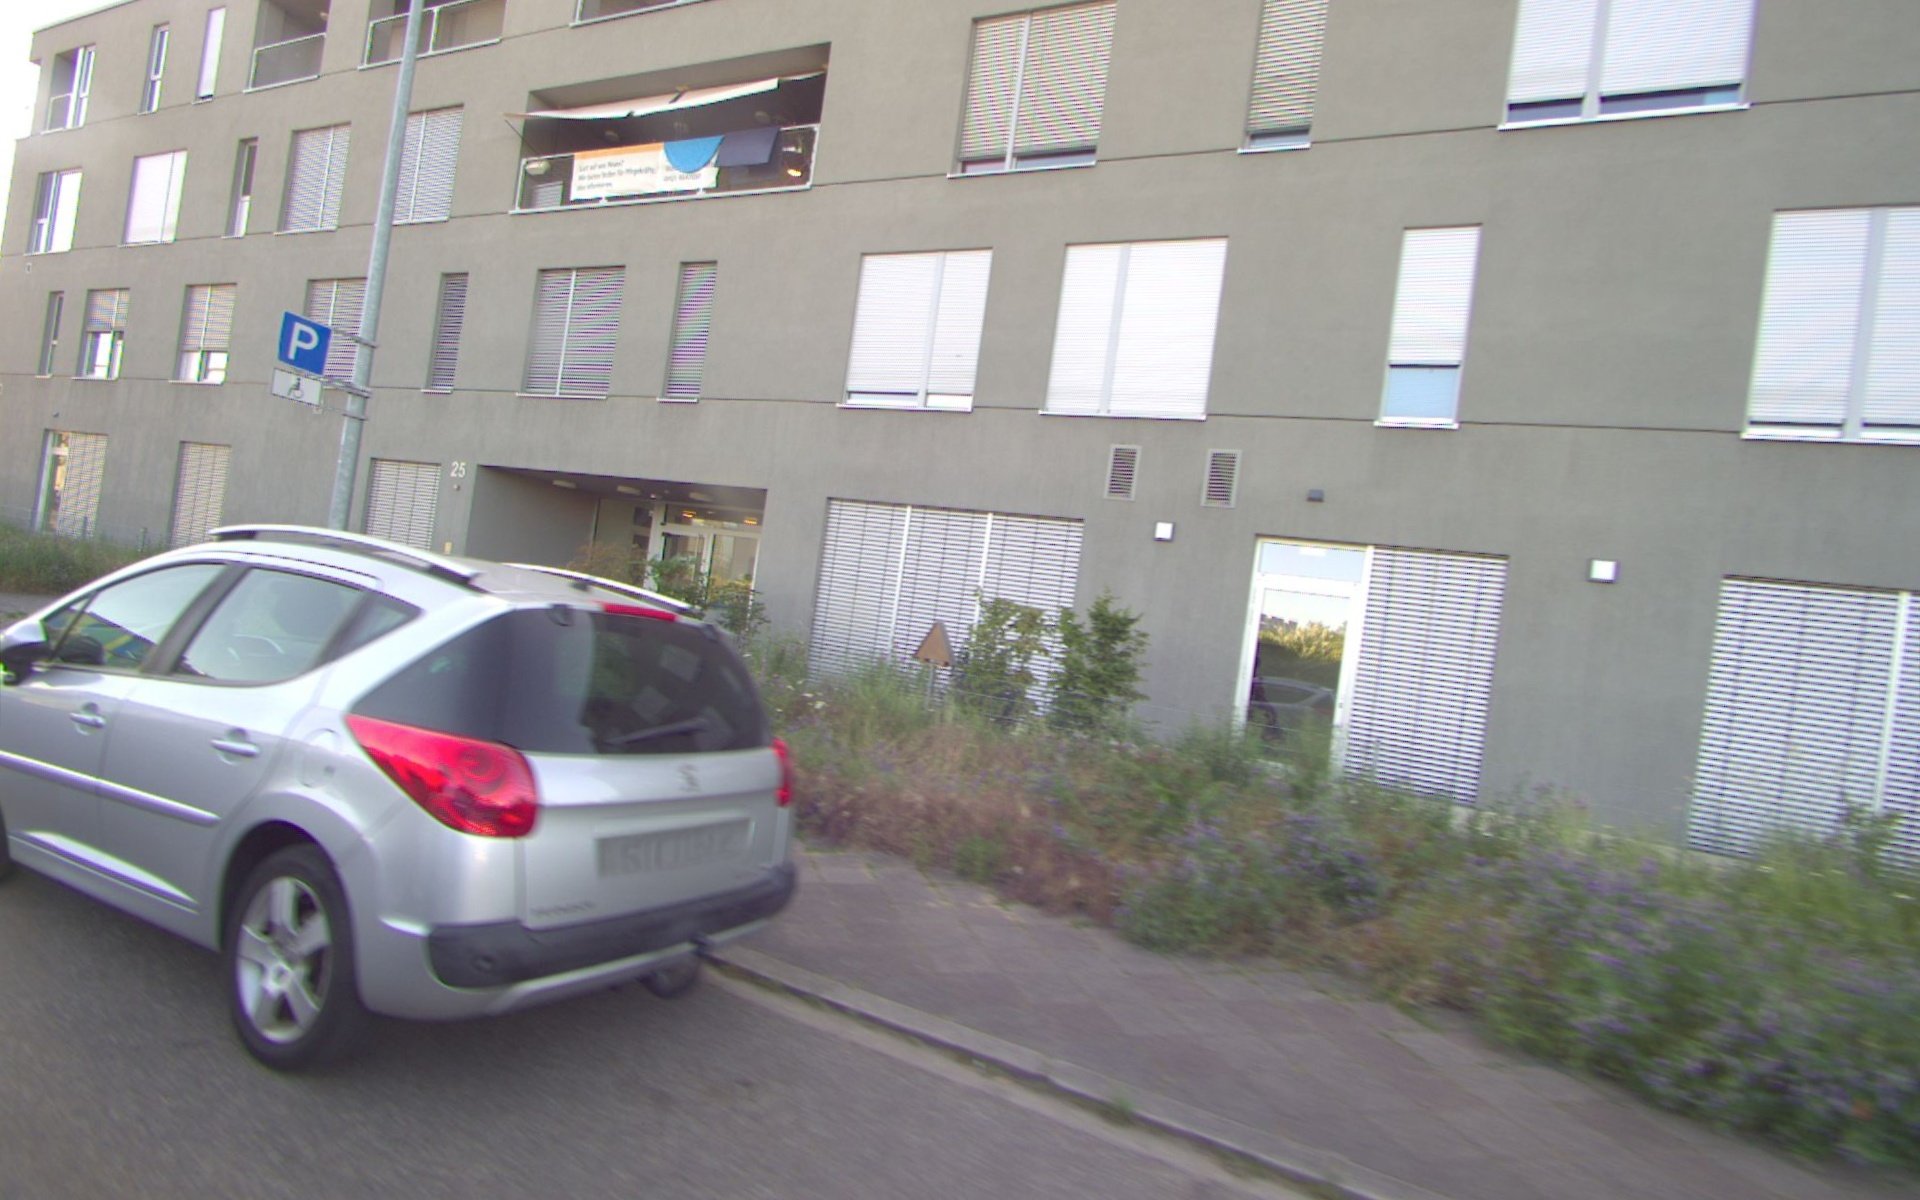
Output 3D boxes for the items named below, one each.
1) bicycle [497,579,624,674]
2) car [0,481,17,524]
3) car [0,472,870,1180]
[{"bbox_3d":[-5.639,0.361,14.153,1.811,1.073,0.553,8,-1,31],"label":"bicycle"},{"bbox_3d":[-36.240,-3.787,35.915,1.686,1.475,3.332,8,-1,32],"label":"car"},{"bbox_3d":[-2.640,0.487,4.129,4.083,1.542,1.713,8,-3,28],"label":"car"}]
